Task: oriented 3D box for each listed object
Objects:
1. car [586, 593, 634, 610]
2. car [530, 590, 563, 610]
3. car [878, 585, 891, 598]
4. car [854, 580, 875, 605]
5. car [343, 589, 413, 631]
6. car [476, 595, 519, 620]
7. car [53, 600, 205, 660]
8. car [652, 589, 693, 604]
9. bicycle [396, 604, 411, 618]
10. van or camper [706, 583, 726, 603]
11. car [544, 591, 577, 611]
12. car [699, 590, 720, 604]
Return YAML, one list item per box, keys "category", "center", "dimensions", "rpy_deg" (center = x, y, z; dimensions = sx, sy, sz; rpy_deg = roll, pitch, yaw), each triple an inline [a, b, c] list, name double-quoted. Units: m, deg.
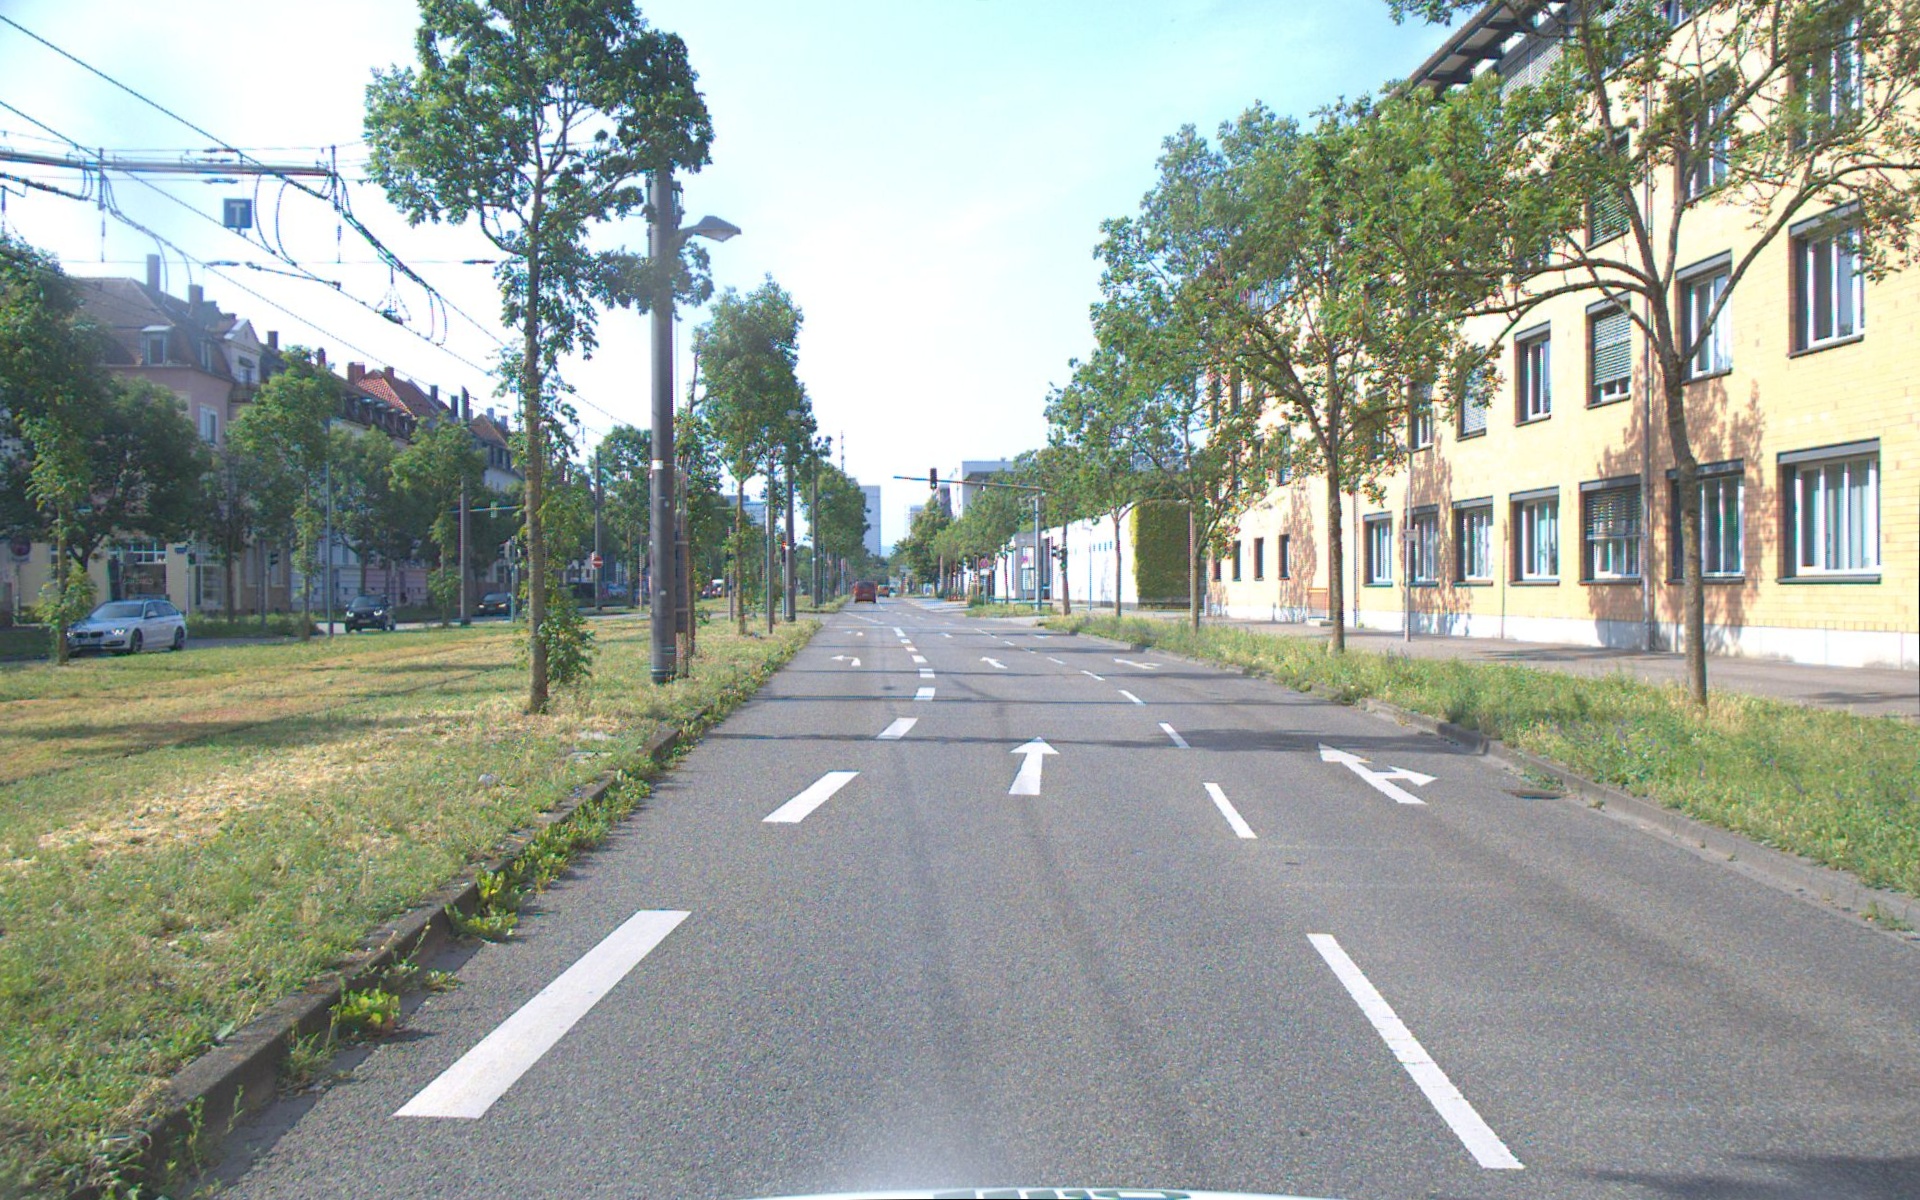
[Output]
- category: "car"
  center: [-33.211, 0.118, 156.981]
  dimensions: [4.384, 1.444, 1.969]
  rpy_deg: [2, 0, 34]
- category: "car"
  center: [-35.040, -0.010, 140.351]
  dimensions: [1.955, 1.657, 4.770]
  rpy_deg: [2, 0, -5]
- category: "car"
  center: [-10.351, -1.129, 225.922]
  dimensions: [1.713, 1.679, 3.214]
  rpy_deg: [2, 0, -3]
- category: "car"
  center: [-8.106, -0.602, 140.863]
  dimensions: [1.713, 2.049, 3.214]
  rpy_deg: [2, 0, -3]
- category: "car"
  center: [-24.924, 0.420, 70.934]
  dimensions: [1.729, 1.684, 3.997]
  rpy_deg: [2, 0, -3]
- category: "car"
  center: [-28.562, 0.446, 102.304]
  dimensions: [1.776, 1.458, 3.922]
  rpy_deg: [2, 0, -4]
- category: "car"
  center: [-22.227, 0.806, 44.450]
  dimensions: [1.909, 1.485, 4.644]
  rpy_deg: [2, -1, -4]
- category: "car"
  center: [-37.909, -0.462, 218.093]
  dimensions: [5.212, 1.768, 1.996]
  rpy_deg: [2, 0, 31]
- category: "bicycle"
  center: [-36.000, 0.708, 107.019]
  dimensions: [0.438, 0.872, 1.945]
  rpy_deg: [2, 0, -5]
- category: "van or camper"
  center: [-32.405, -0.860, 219.880]
  dimensions: [2.160, 2.575, 6.025]
  rpy_deg: [2, 0, -4]
- category: "car"
  center: [-35.374, 0.055, 146.496]
  dimensions: [1.851, 1.657, 4.155]
  rpy_deg: [2, 0, -1]
- category: "car"
  center: [-32.215, -0.397, 212.933]
  dimensions: [1.924, 1.723, 4.297]
  rpy_deg: [2, 0, 0]
